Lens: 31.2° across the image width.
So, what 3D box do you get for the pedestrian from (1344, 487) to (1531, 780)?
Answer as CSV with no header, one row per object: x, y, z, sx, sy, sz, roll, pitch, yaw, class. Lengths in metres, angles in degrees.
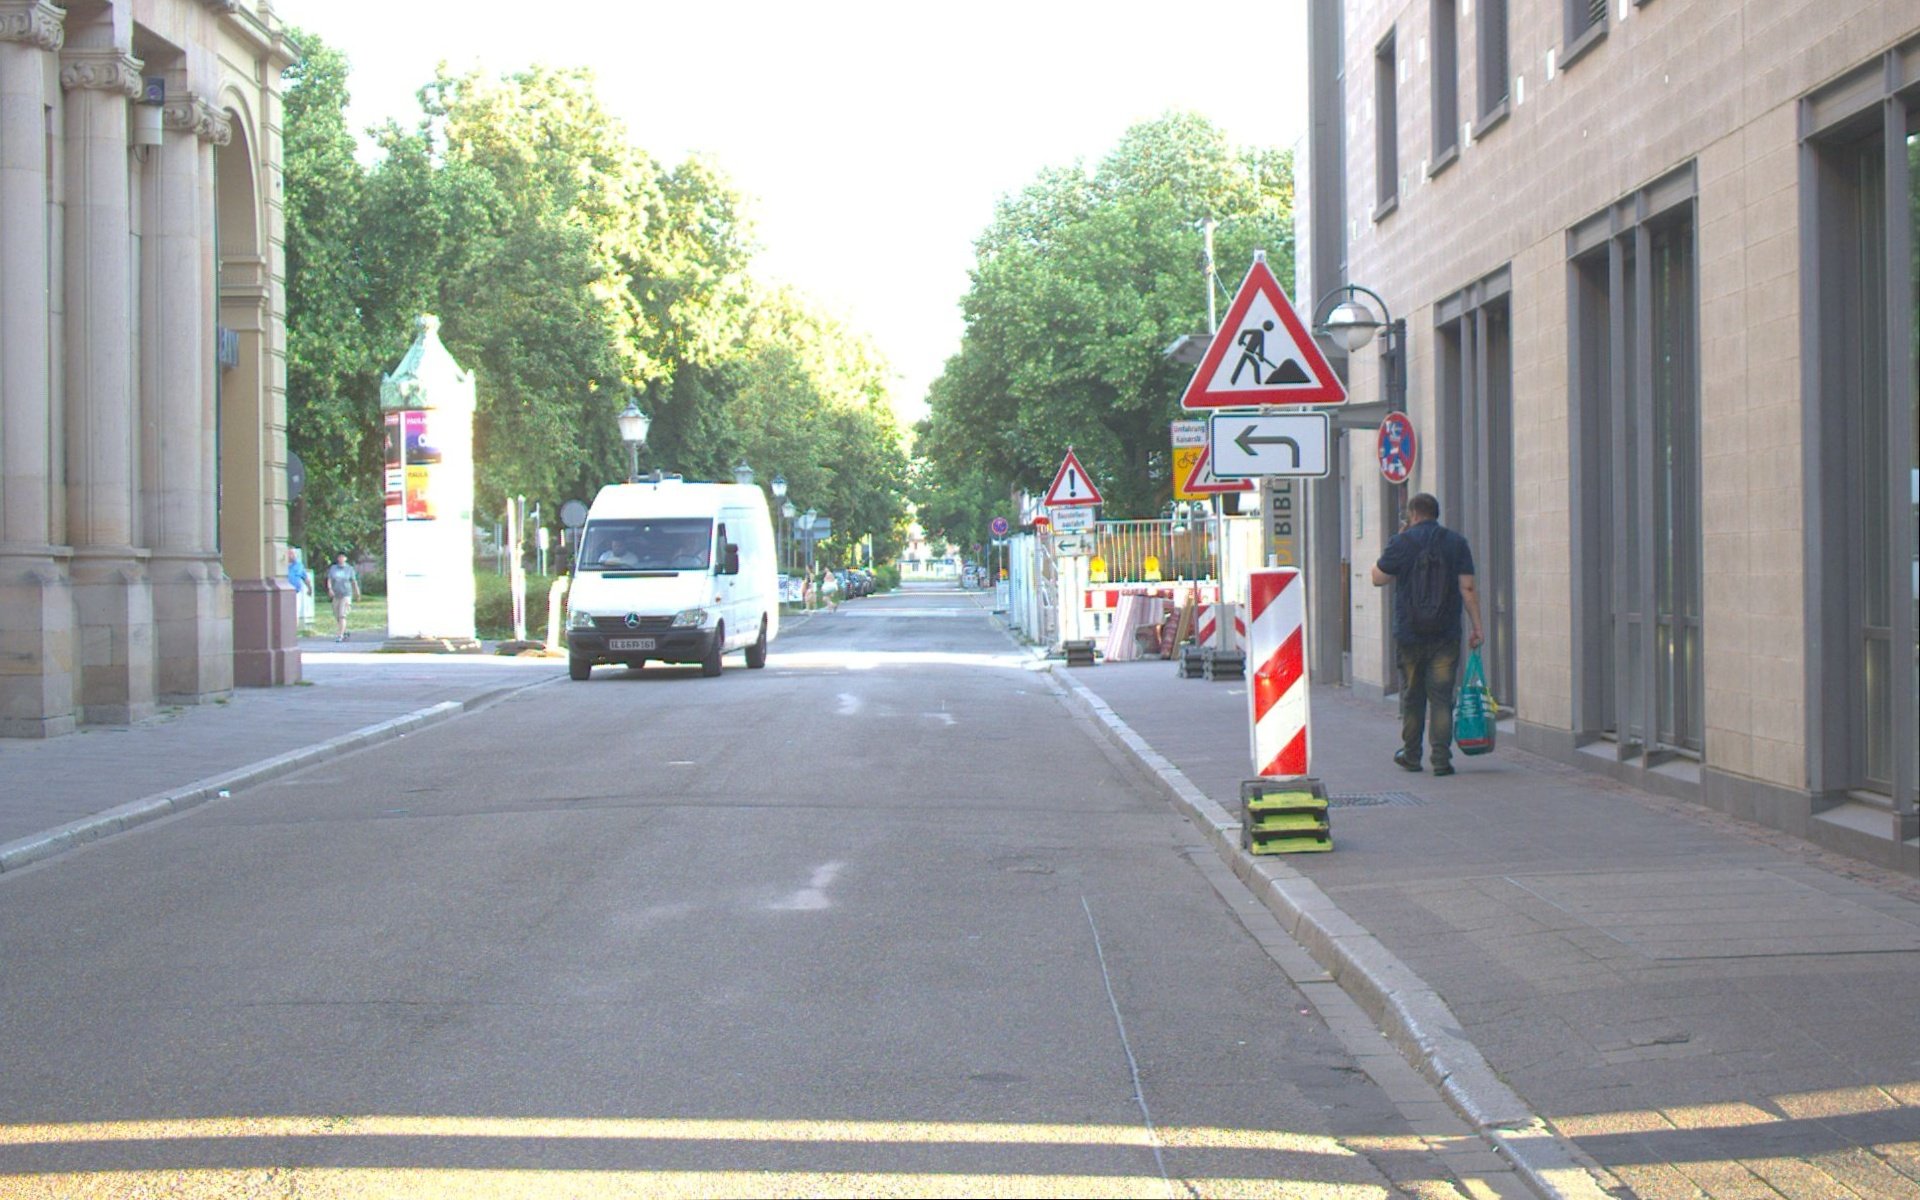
3.019,0.208,21.817,1.000,1.797,0.882,-2,0,-1,pedestrian

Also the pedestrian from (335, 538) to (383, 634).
-11.334,-0.267,64.829,0.849,1.801,0.664,0,1,-13,pedestrian

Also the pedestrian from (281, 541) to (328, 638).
-12.315,-0.197,64.588,0.849,1.801,0.664,0,1,-13,pedestrian

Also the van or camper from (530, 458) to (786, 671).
-3.837,-0.483,44.986,2.219,2.576,6.371,0,1,5,van or camper

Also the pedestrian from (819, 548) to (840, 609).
-4.358,-0.725,115.041,0.609,2.007,0.905,0,1,-8,pedestrian

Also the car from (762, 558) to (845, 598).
-7.319,-1.025,160.992,3.564,1.777,1.789,-1,0,9,car
